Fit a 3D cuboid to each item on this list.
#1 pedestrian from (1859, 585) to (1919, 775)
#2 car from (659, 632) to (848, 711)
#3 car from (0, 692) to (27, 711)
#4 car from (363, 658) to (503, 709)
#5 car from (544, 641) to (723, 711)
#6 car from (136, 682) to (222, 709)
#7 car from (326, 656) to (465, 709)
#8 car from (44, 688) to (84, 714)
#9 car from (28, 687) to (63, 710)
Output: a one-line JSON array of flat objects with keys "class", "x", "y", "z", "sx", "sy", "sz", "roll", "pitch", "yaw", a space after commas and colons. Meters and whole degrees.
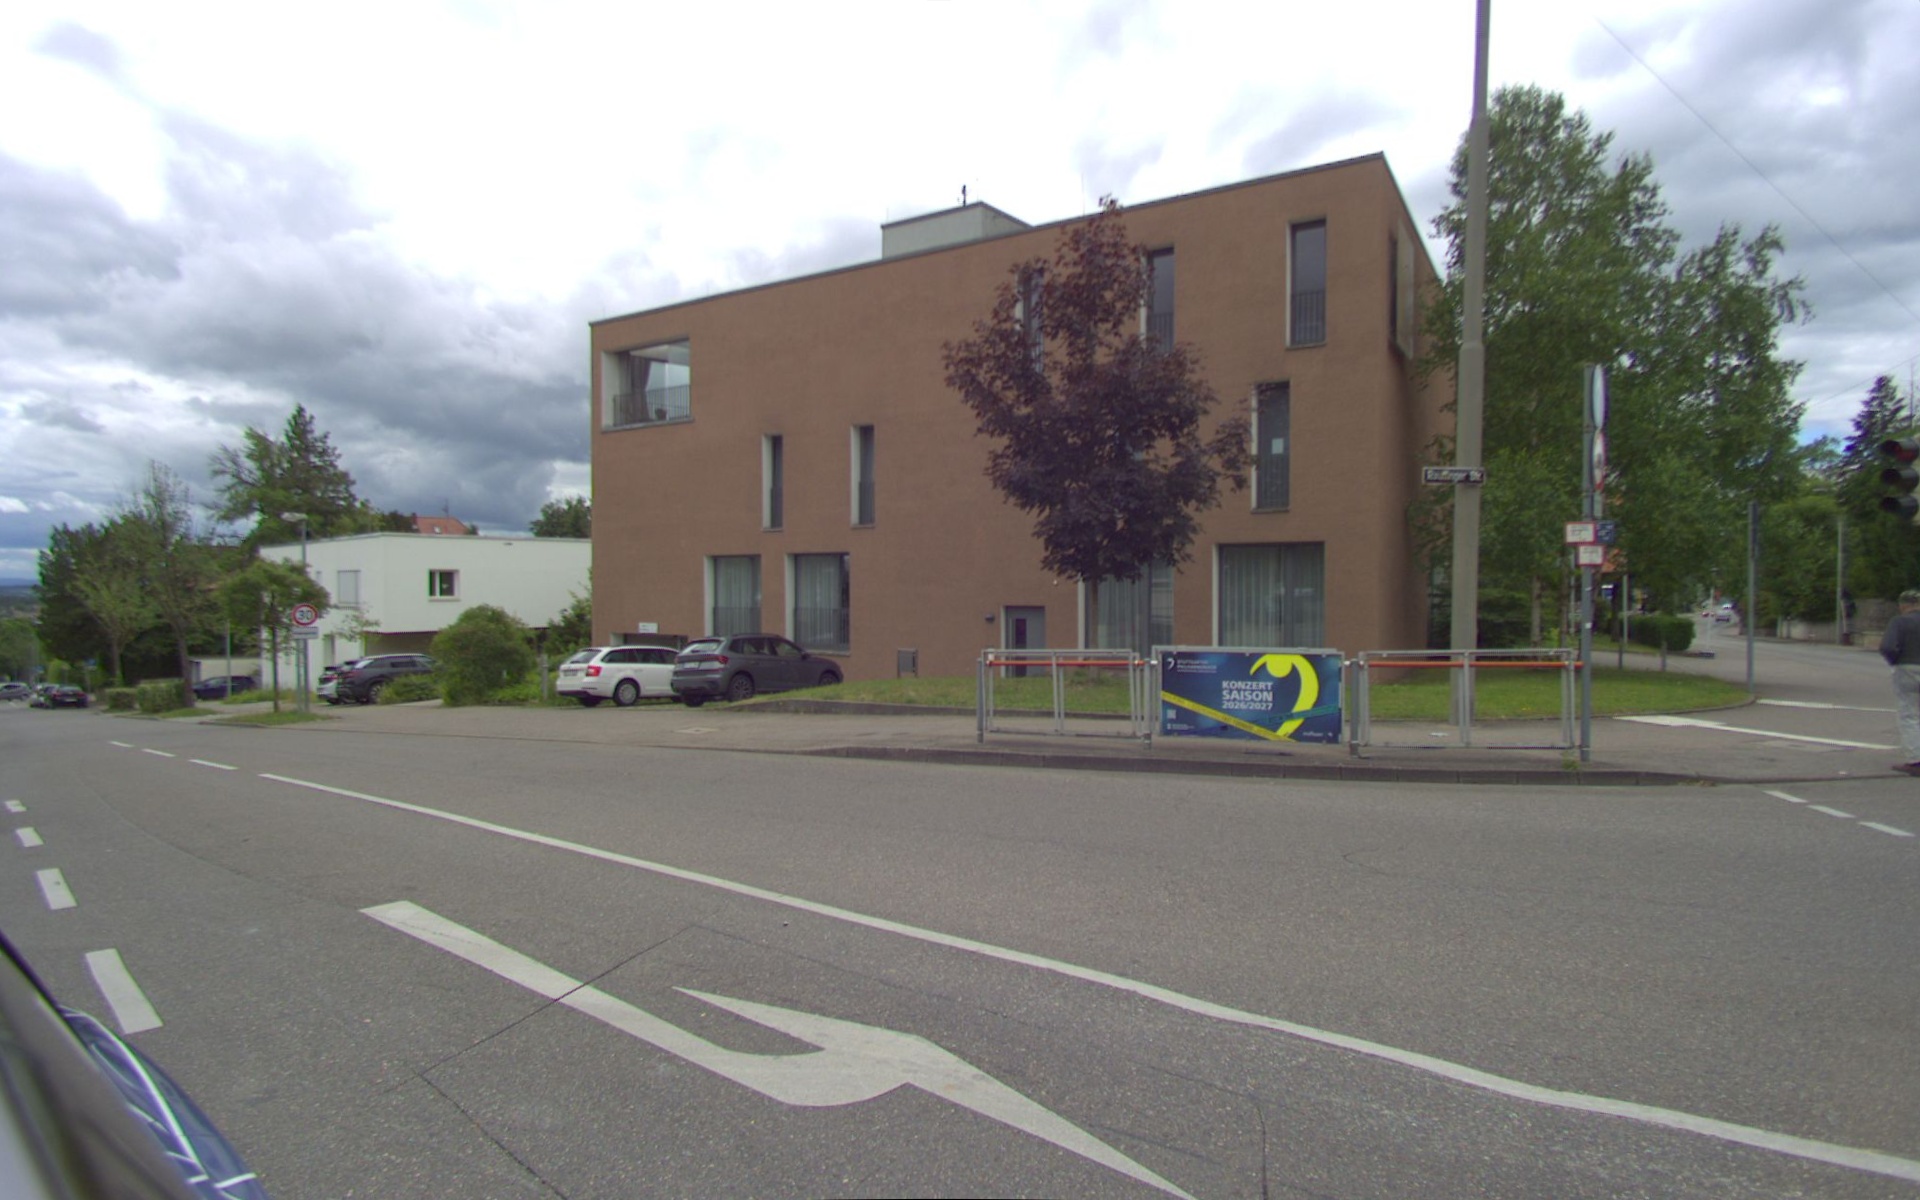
[{"class": "pedestrian", "x": 8.655, "y": 0.697, "z": 8.946, "sx": 0.674, "sy": 1.646, "sz": 0.739, "roll": -1, "pitch": -2, "yaw": 3}, {"class": "car", "x": -4.491, "y": 1.548, "z": 22.497, "sx": 1.724, "sy": 1.497, "sz": 3.950, "roll": -5, "pitch": -4, "yaw": 37}, {"class": "car", "x": -82.715, "y": 8.764, "z": 86.700, "sx": 1.707, "sy": 1.497, "sz": 3.989, "roll": -3, "pitch": -3, "yaw": 8}, {"class": "car", "x": -18.245, "y": 2.880, "z": 35.138, "sx": 1.727, "sy": 1.497, "sz": 3.943, "roll": -6, "pitch": -4, "yaw": 43}, {"class": "car", "x": -8.009, "y": 1.848, "z": 25.113, "sx": 1.724, "sy": 1.497, "sz": 3.950, "roll": -5, "pitch": -4, "yaw": 37}, {"class": "car", "x": -46.989, "y": 5.740, "z": 60.918, "sx": 3.939, "sy": 1.296, "sz": 1.665, "roll": 0, "pitch": -4, "yaw": -43}, {"class": "car", "x": -19.988, "y": 2.901, "z": 35.923, "sx": 1.793, "sy": 1.608, "sz": 3.943, "roll": -6, "pitch": -4, "yaw": 43}, {"class": "car", "x": -54.952, "y": 6.172, "z": 62.051, "sx": 1.638, "sy": 1.432, "sz": 4.003, "roll": 0, "pitch": -4, "yaw": -44}, {"class": "car", "x": -61.575, "y": 6.631, "z": 68.129, "sx": 1.638, "sy": 1.432, "sz": 4.371, "roll": 0, "pitch": -4, "yaw": -44}]
